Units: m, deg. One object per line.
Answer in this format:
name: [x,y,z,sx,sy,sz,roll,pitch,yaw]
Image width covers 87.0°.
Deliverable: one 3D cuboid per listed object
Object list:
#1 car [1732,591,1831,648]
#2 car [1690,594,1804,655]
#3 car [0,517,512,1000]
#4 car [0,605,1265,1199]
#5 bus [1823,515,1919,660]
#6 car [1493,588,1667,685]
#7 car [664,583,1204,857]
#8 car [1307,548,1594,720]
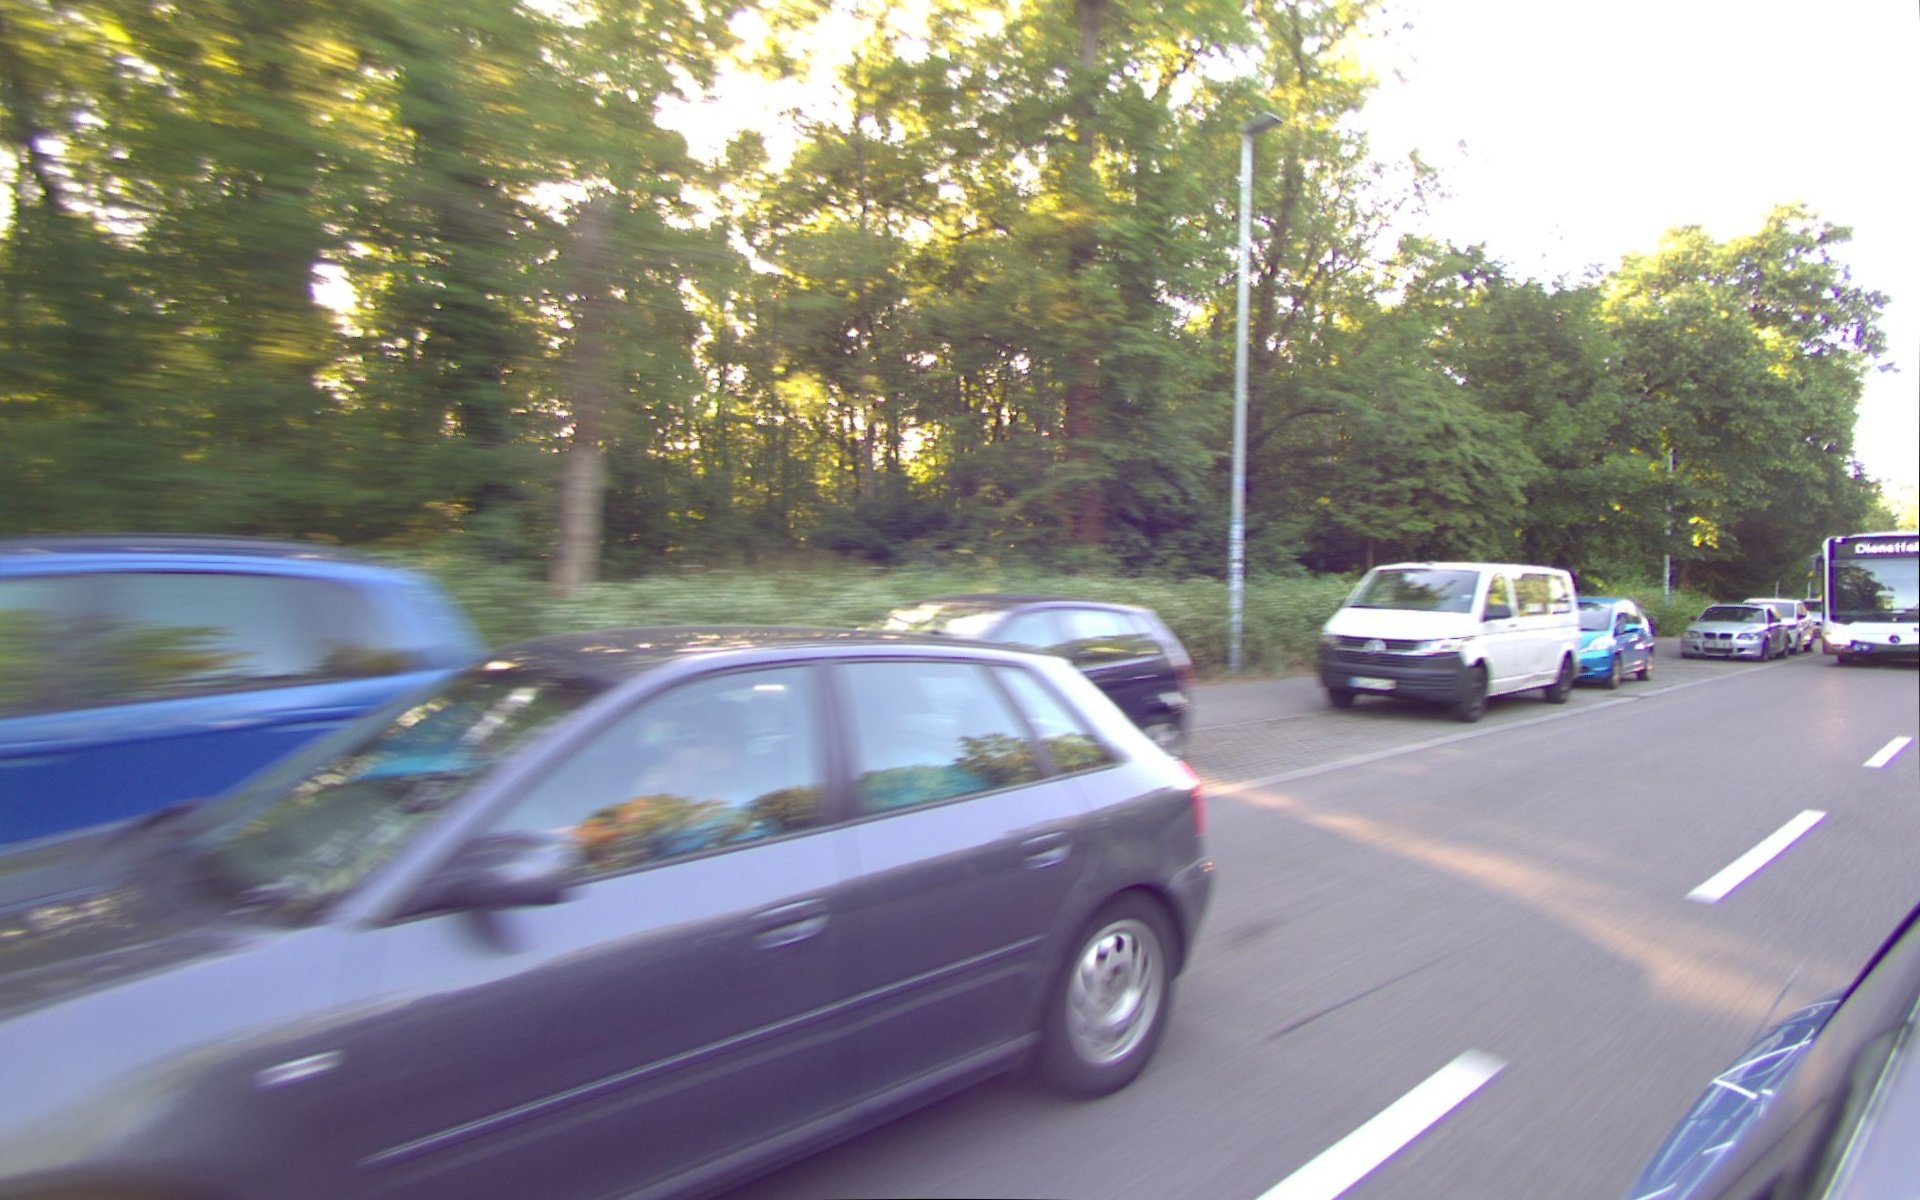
car: [23.444,0.513,28.840,3.763,1.506,1.593,-1,0,-41]
car: [19.921,0.561,25.571,3.763,1.400,1.593,-1,0,-41]
car: [-4.021,0.510,3.999,3.763,1.654,1.818,-1,3,-42]
car: [-0.963,0.725,2.812,3.925,1.376,1.677,0,0,-42]
bus: [24.892,-0.263,26.071,12.671,3.086,2.807,0,0,-44]
car: [11.176,0.564,18.152,3.767,1.529,1.816,-1,1,-44]
car: [-0.025,0.631,7.498,3.765,1.497,1.816,-1,0,-43]
car: [6.889,0.355,13.889,5.179,1.945,1.816,-1,0,-43]
